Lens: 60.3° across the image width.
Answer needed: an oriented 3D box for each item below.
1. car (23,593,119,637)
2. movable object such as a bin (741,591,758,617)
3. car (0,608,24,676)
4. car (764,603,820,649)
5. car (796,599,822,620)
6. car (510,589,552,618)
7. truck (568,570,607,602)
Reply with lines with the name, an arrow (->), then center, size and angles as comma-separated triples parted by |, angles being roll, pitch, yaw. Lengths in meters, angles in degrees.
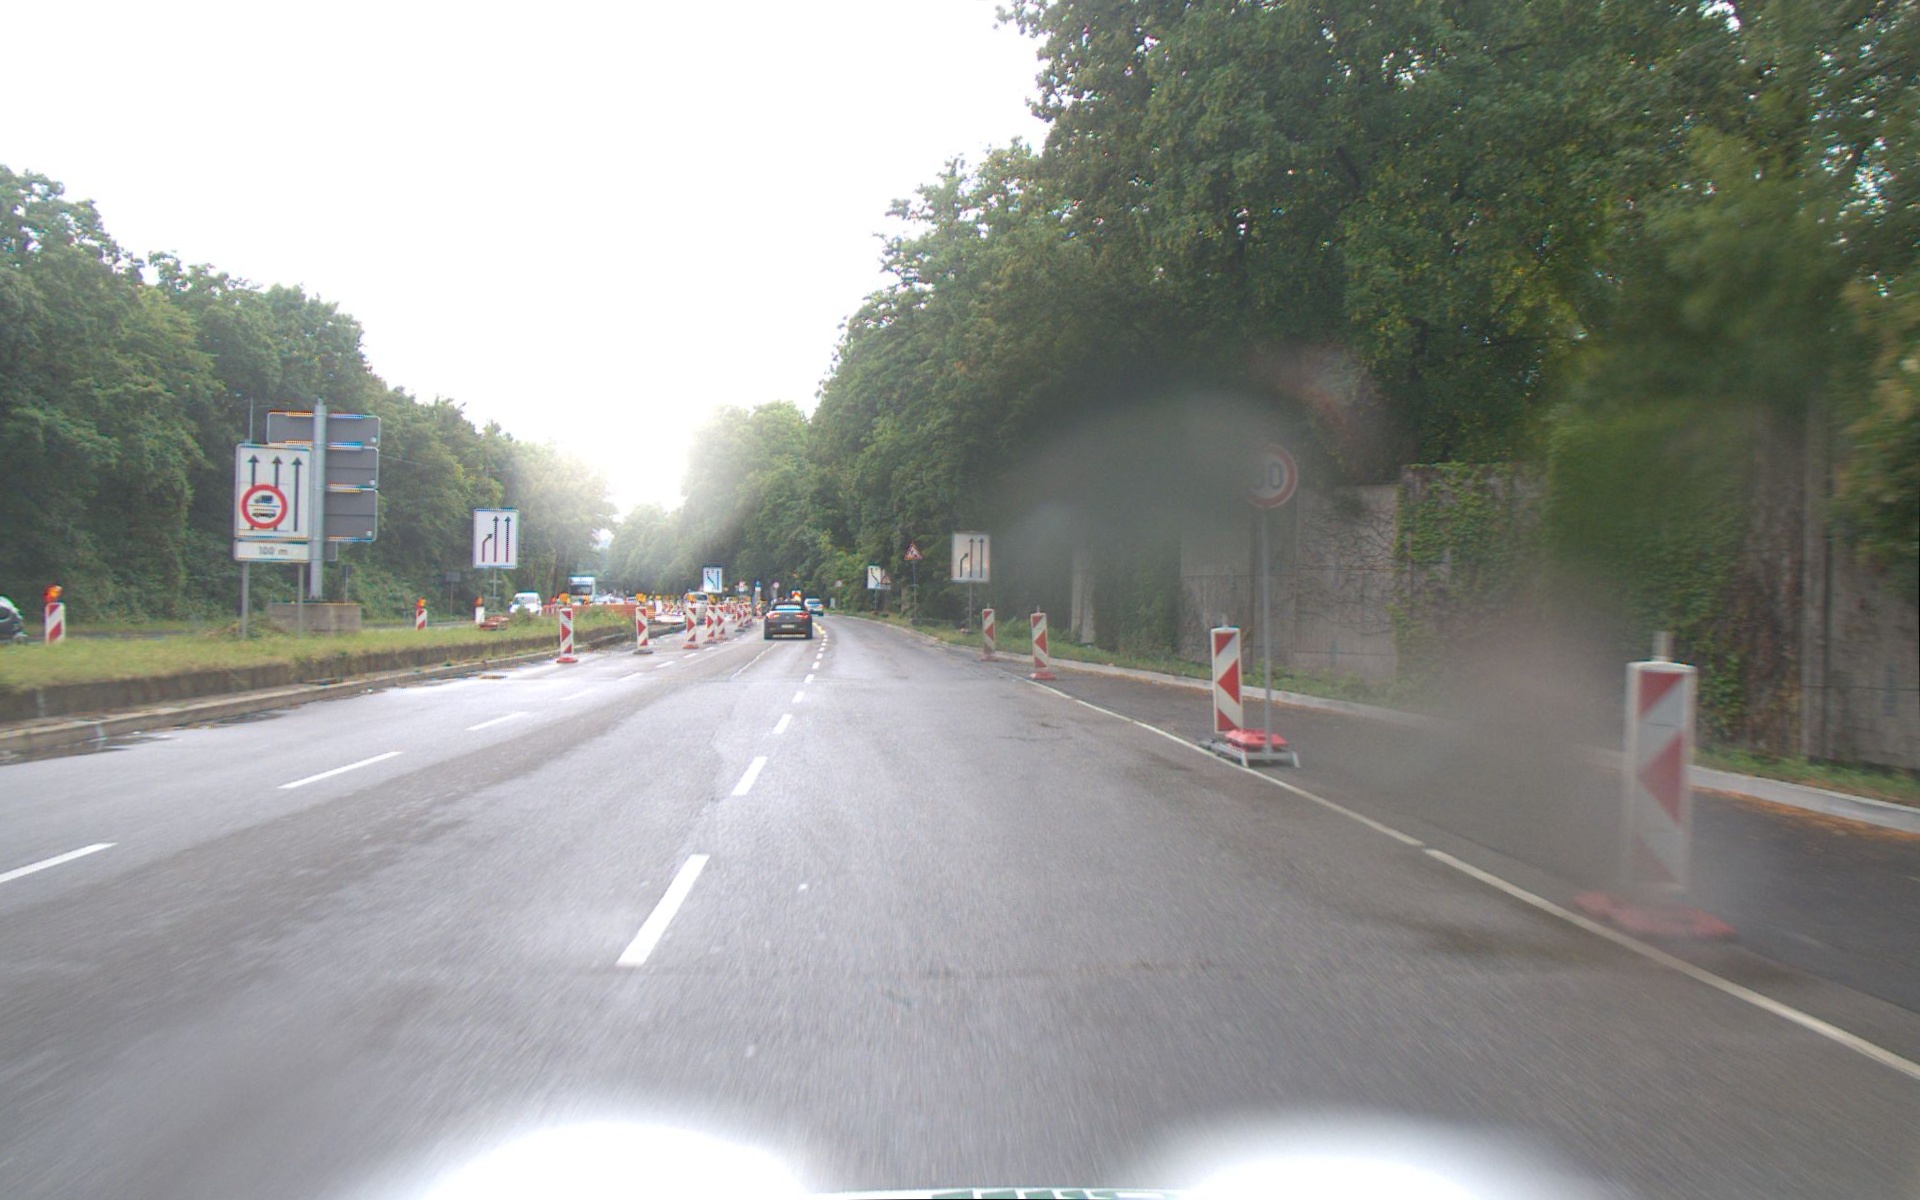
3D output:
car -> -25.042, 0.406, 46.661 | 1.244, 1.104, 2.792 | 2, 1, -1
movable object such as a bin -> -24.087, 0.452, 189.111 | 1.715, 2.917, 3.525 | -1, 0, -11
car -> -18.196, 0.758, 29.282 | 1.400, 1.221, 3.299 | 1, 0, -1
car -> -6.474, 0.973, 64.057 | 1.824, 1.517, 4.000 | 2, 2, -1
car -> -13.101, 0.808, 143.574 | 1.879, 1.626, 4.823 | 1, 1, -9
car -> -28.064, 0.203, 108.281 | 1.877, 1.812, 4.828 | 1, 1, -6
truck -> -38.275, -1.367, 170.381 | 2.742, 3.203, 10.134 | 0, 0, -6
